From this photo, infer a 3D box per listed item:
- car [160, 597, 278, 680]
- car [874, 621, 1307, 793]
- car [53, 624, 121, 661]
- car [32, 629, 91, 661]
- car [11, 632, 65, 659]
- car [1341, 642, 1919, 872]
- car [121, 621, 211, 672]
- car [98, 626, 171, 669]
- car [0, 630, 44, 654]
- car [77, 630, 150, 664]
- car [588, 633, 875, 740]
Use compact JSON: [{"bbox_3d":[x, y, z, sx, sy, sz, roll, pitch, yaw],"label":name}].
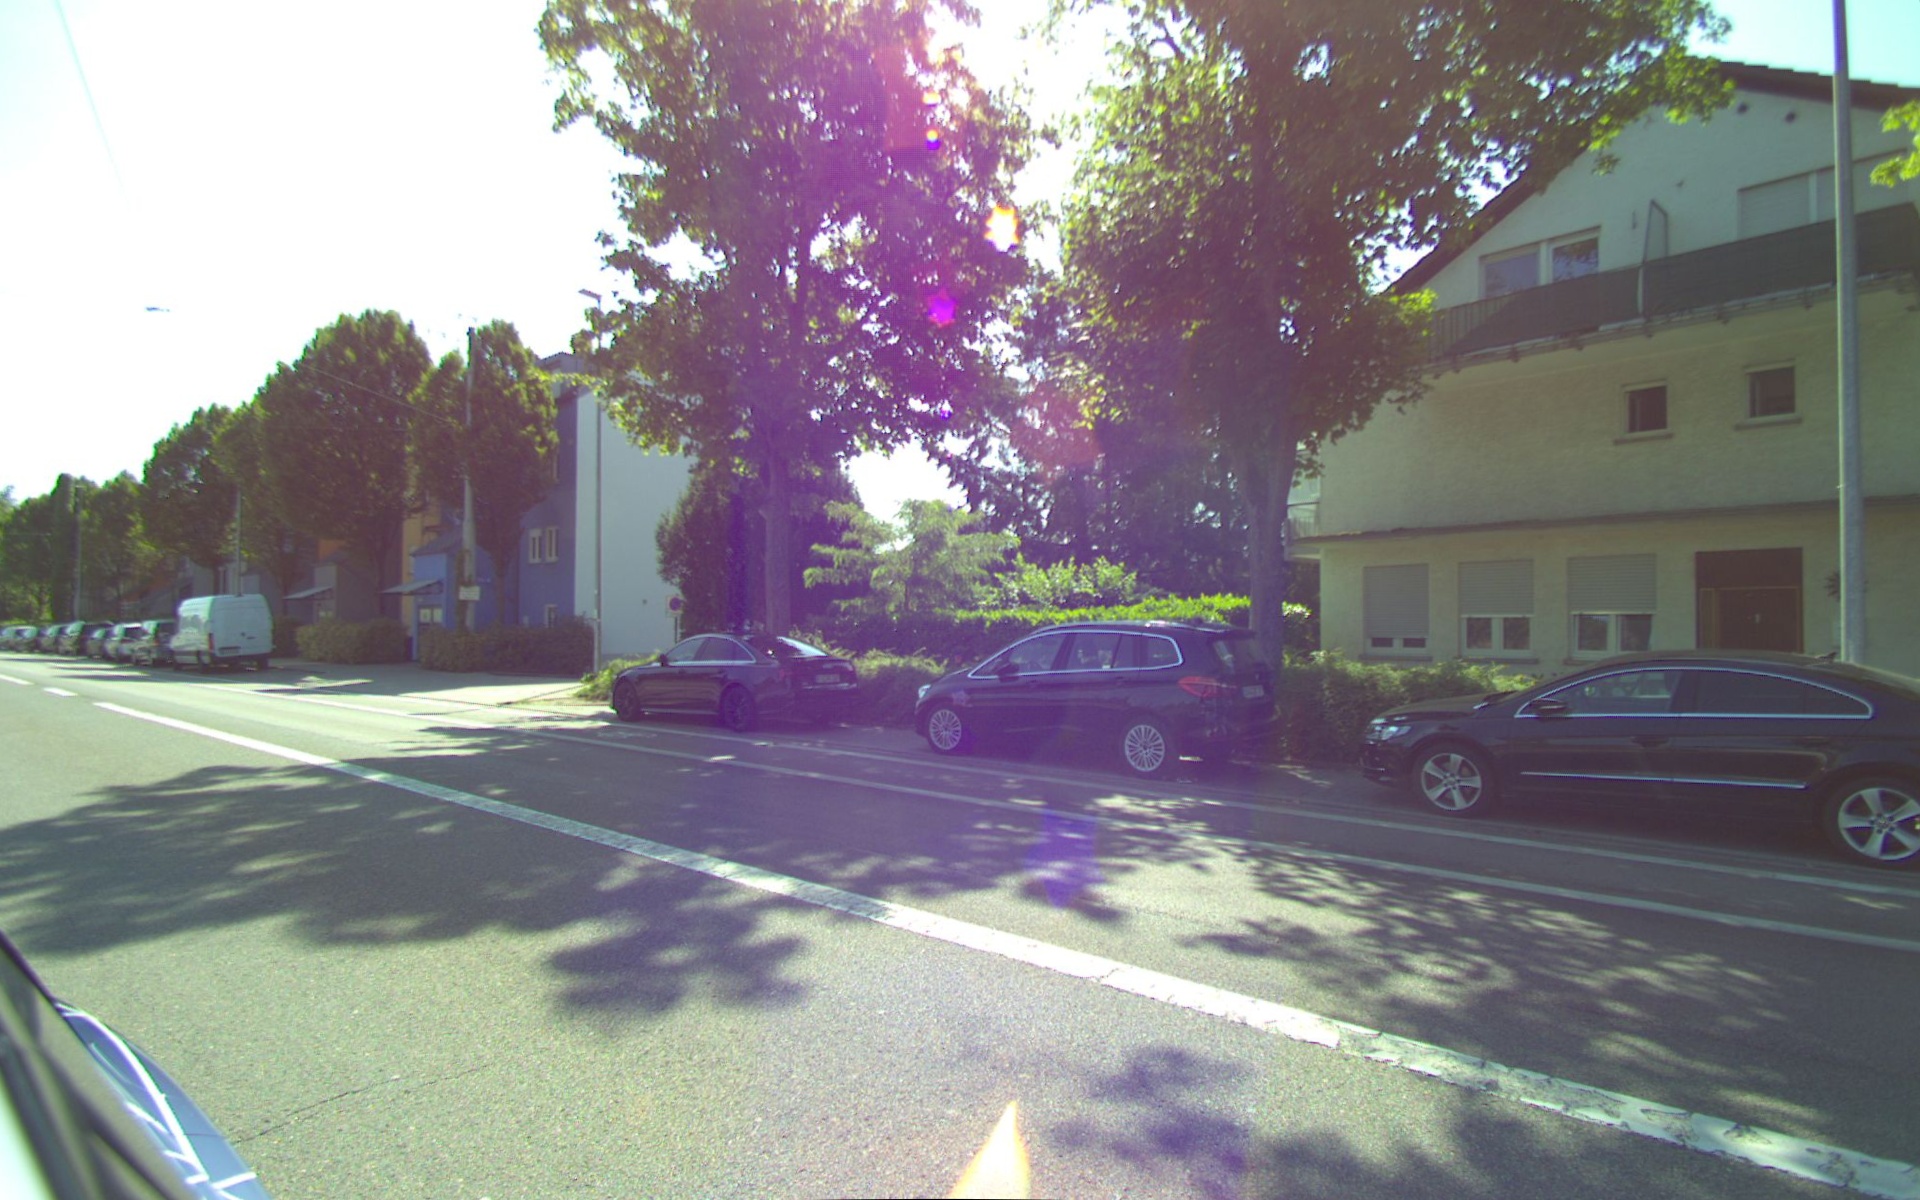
[{"bbox_3d":[-27.063,1.351,36.829,7.084,2.697,1.972,-2,1,42],"label":"car"},{"bbox_3d":[1.321,1.076,11.856,4.891,1.618,1.743,-2,-2,41],"label":"car"},{"bbox_3d":[-45.275,2.165,52.457,4.343,1.741,1.812,-1,0,38],"label":"car"},{"bbox_3d":[-49.375,2.435,55.602,4.159,1.619,1.661,-1,-1,38],"label":"car"},{"bbox_3d":[-54.311,2.641,59.596,4.207,1.481,1.661,-1,-1,38],"label":"car"},{"bbox_3d":[5.707,1.074,7.972,4.779,1.390,1.673,-2,-1,41],"label":"car"},{"bbox_3d":[-33.183,1.898,42.245,4.964,1.879,1.973,-2,2,41],"label":"car"},{"bbox_3d":[-37.318,2.099,45.725,4.539,1.715,1.829,-1,1,42],"label":"car"},{"bbox_3d":[-59.578,2.631,63.834,4.826,1.457,1.662,-1,-1,35],"label":"car"},{"bbox_3d":[-41.191,2.233,49.226,4.069,1.466,1.849,-1,1,38],"label":"car"},{"bbox_3d":[-3.778,1.269,16.255,4.903,1.477,1.822,-1,-2,38],"label":"car"}]
